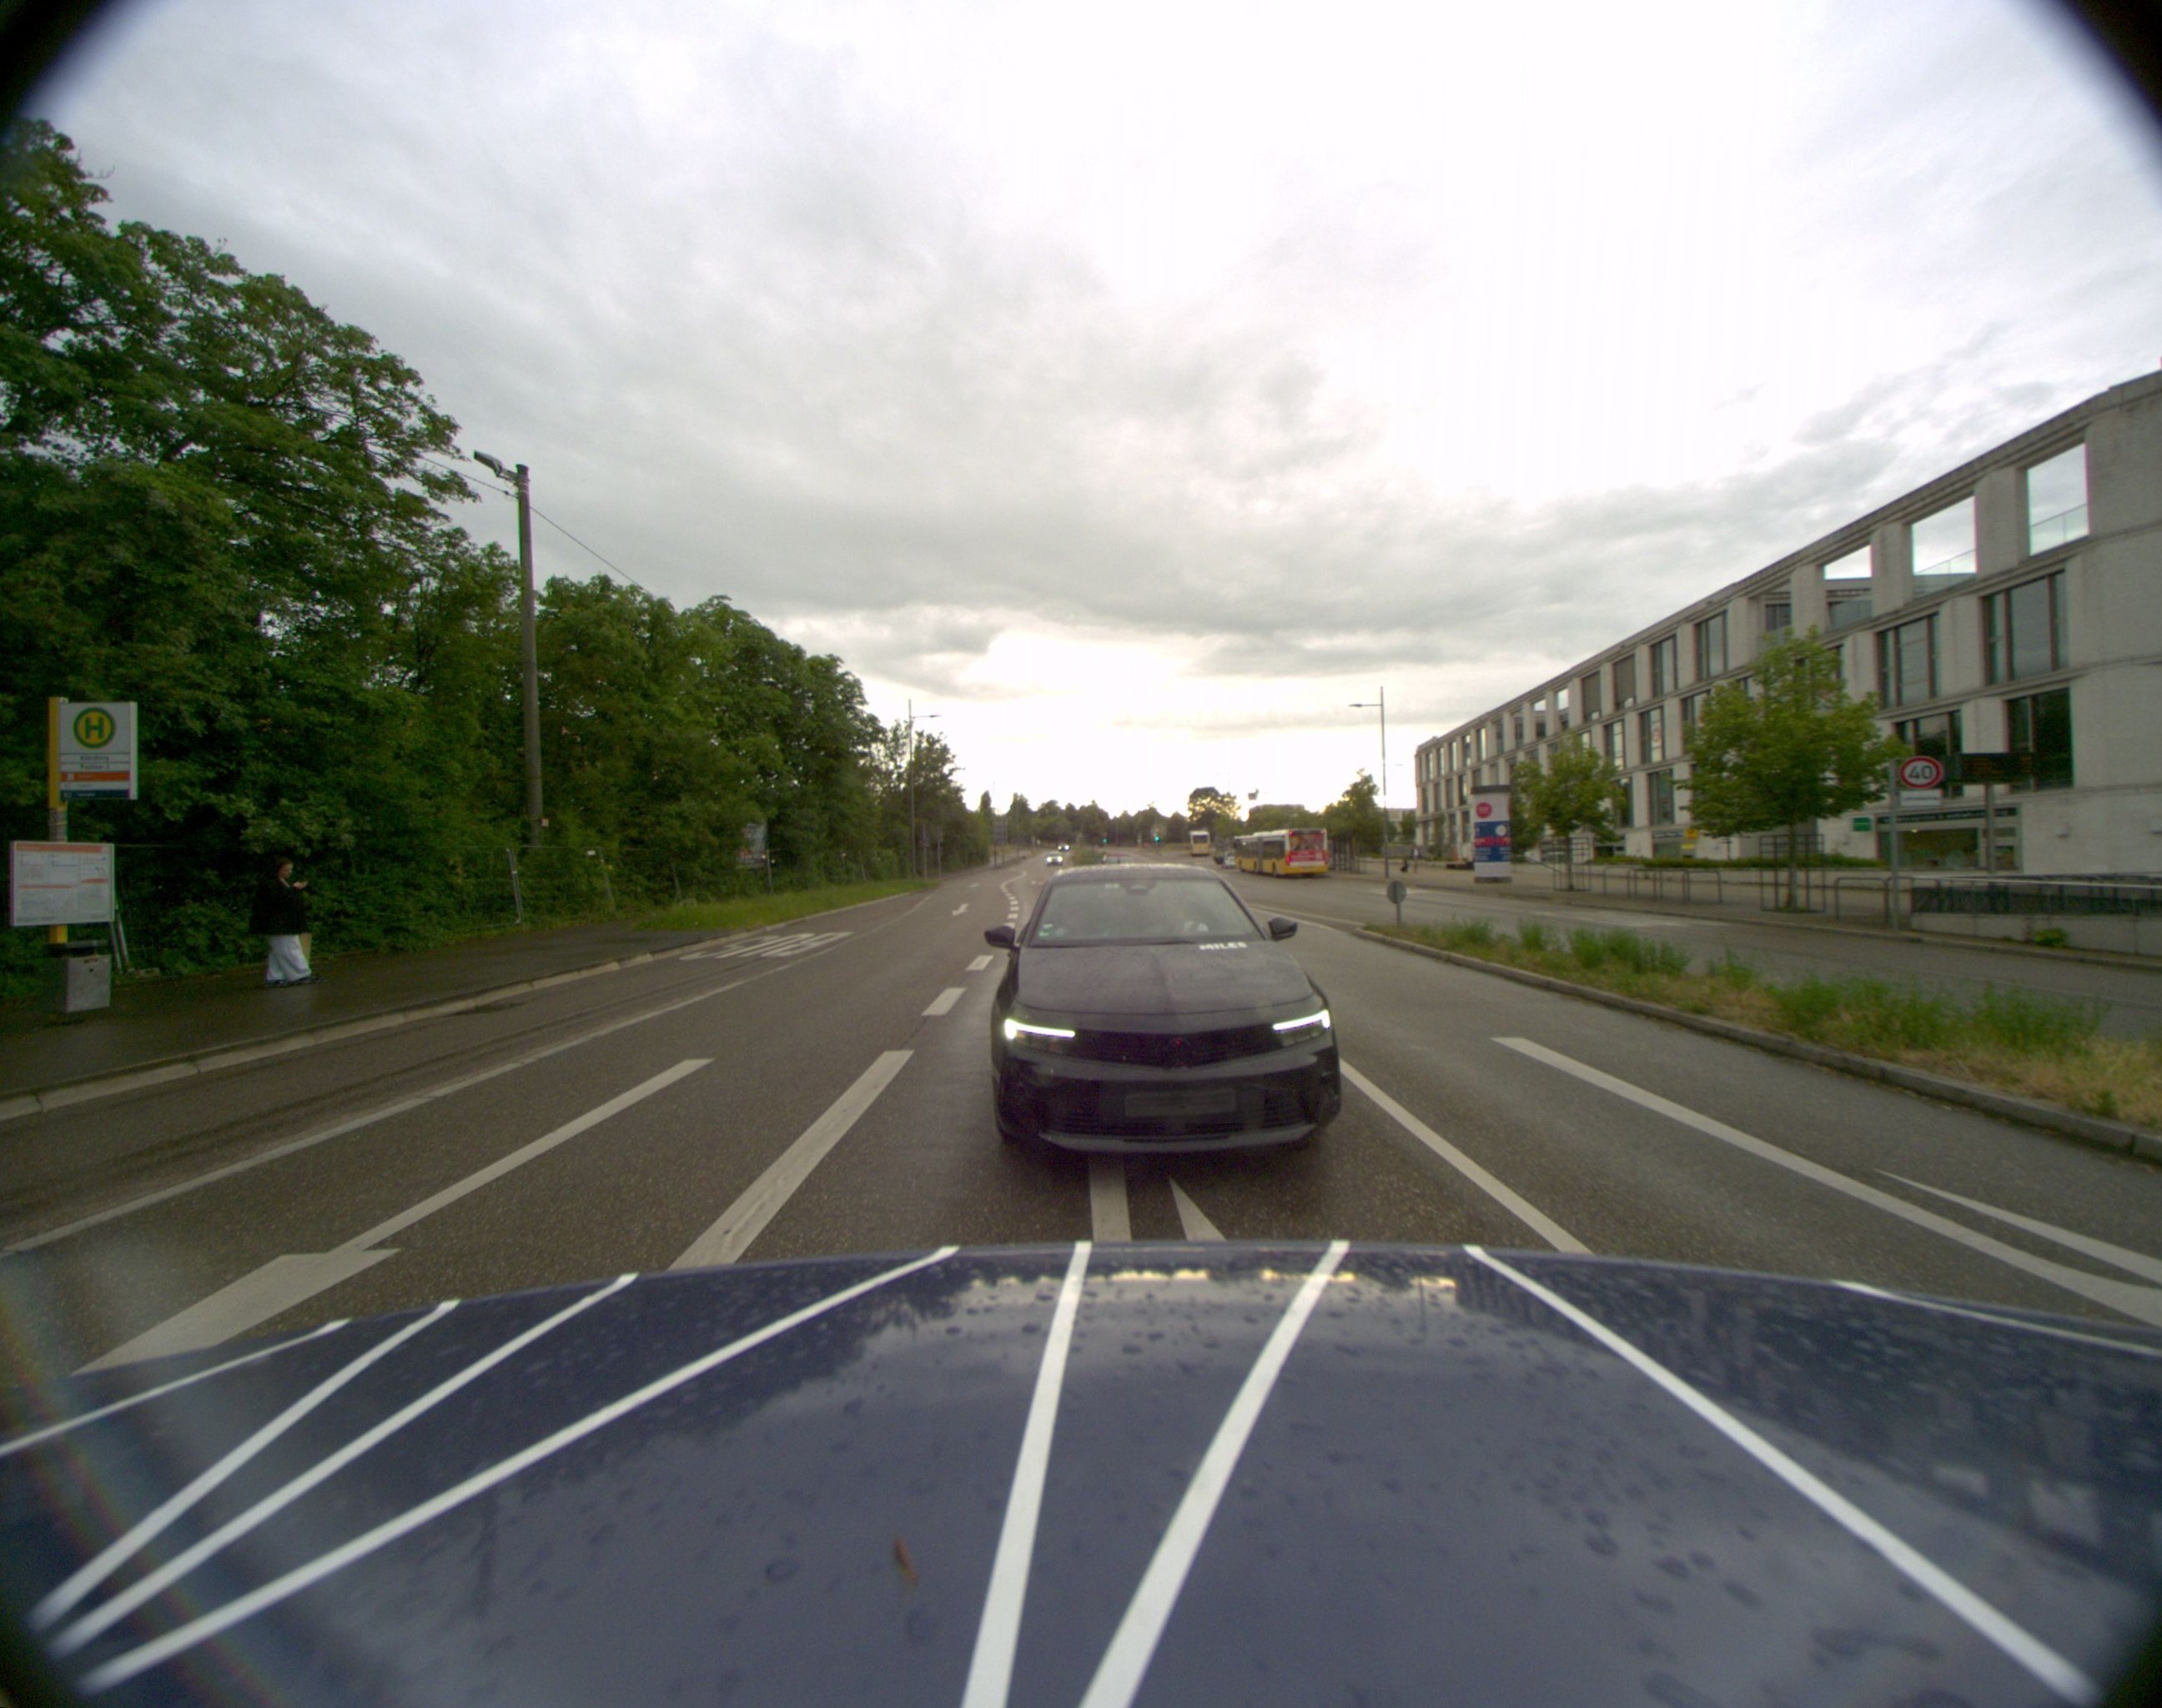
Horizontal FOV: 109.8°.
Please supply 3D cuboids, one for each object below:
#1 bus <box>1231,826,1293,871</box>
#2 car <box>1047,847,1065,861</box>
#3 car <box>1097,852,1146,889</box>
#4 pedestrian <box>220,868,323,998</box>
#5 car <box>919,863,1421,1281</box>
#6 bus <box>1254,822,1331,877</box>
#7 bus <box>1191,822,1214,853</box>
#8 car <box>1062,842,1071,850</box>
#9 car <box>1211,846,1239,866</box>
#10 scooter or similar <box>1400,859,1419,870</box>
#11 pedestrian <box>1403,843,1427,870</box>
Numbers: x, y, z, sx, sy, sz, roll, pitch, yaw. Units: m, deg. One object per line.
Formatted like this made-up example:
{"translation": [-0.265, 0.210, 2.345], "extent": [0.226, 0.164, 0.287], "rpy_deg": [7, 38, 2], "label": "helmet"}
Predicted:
{"translation": [14.114, -0.452, 60.042], "extent": [2.693, 3.163, 9.912], "rpy_deg": [-2, 1, 2], "label": "bus"}
{"translation": [-2.905, -0.076, 88.889], "extent": [1.901, 1.524, 4.767], "rpy_deg": [-2, 1, -1], "label": "car"}
{"translation": [1.720, 0.681, 33.231], "extent": [1.631, 1.473, 3.504], "rpy_deg": [-1, 1, -5], "label": "car"}
{"translation": [-10.574, 1.011, 9.945], "extent": [0.588, 1.618, 0.661], "rpy_deg": [-1, 1, 1], "label": "pedestrian"}
{"translation": [0.379, 0.886, 5.340], "extent": [1.901, 1.456, 4.767], "rpy_deg": [-2, 1, 1], "label": "car"}
{"translation": [13.823, -0.313, 50.537], "extent": [2.759, 3.194, 9.207], "rpy_deg": [-2, 1, 2], "label": "bus"}
{"translation": [18.381, -2.422, 113.940], "extent": [2.757, 4.129, 19.359], "rpy_deg": [-2, 1, 11], "label": "bus"}
{"translation": [-3.103, -1.667, 163.553], "extent": [1.934, 1.649, 4.617], "rpy_deg": [-1, 0, -2], "label": "car"}
{"translation": [13.583, 0.157, 71.706], "extent": [1.867, 1.777, 3.999], "rpy_deg": [-2, 1, 1], "label": "car"}
{"translation": [19.896, 0.629, 45.975], "extent": [0.642, 0.648, 0.831], "rpy_deg": [-1, 1, -25], "label": "scooter or similar"}
{"translation": [20.204, 0.154, 45.969], "extent": [0.868, 1.572, 0.982], "rpy_deg": [-3, 1, -26], "label": "pedestrian"}
